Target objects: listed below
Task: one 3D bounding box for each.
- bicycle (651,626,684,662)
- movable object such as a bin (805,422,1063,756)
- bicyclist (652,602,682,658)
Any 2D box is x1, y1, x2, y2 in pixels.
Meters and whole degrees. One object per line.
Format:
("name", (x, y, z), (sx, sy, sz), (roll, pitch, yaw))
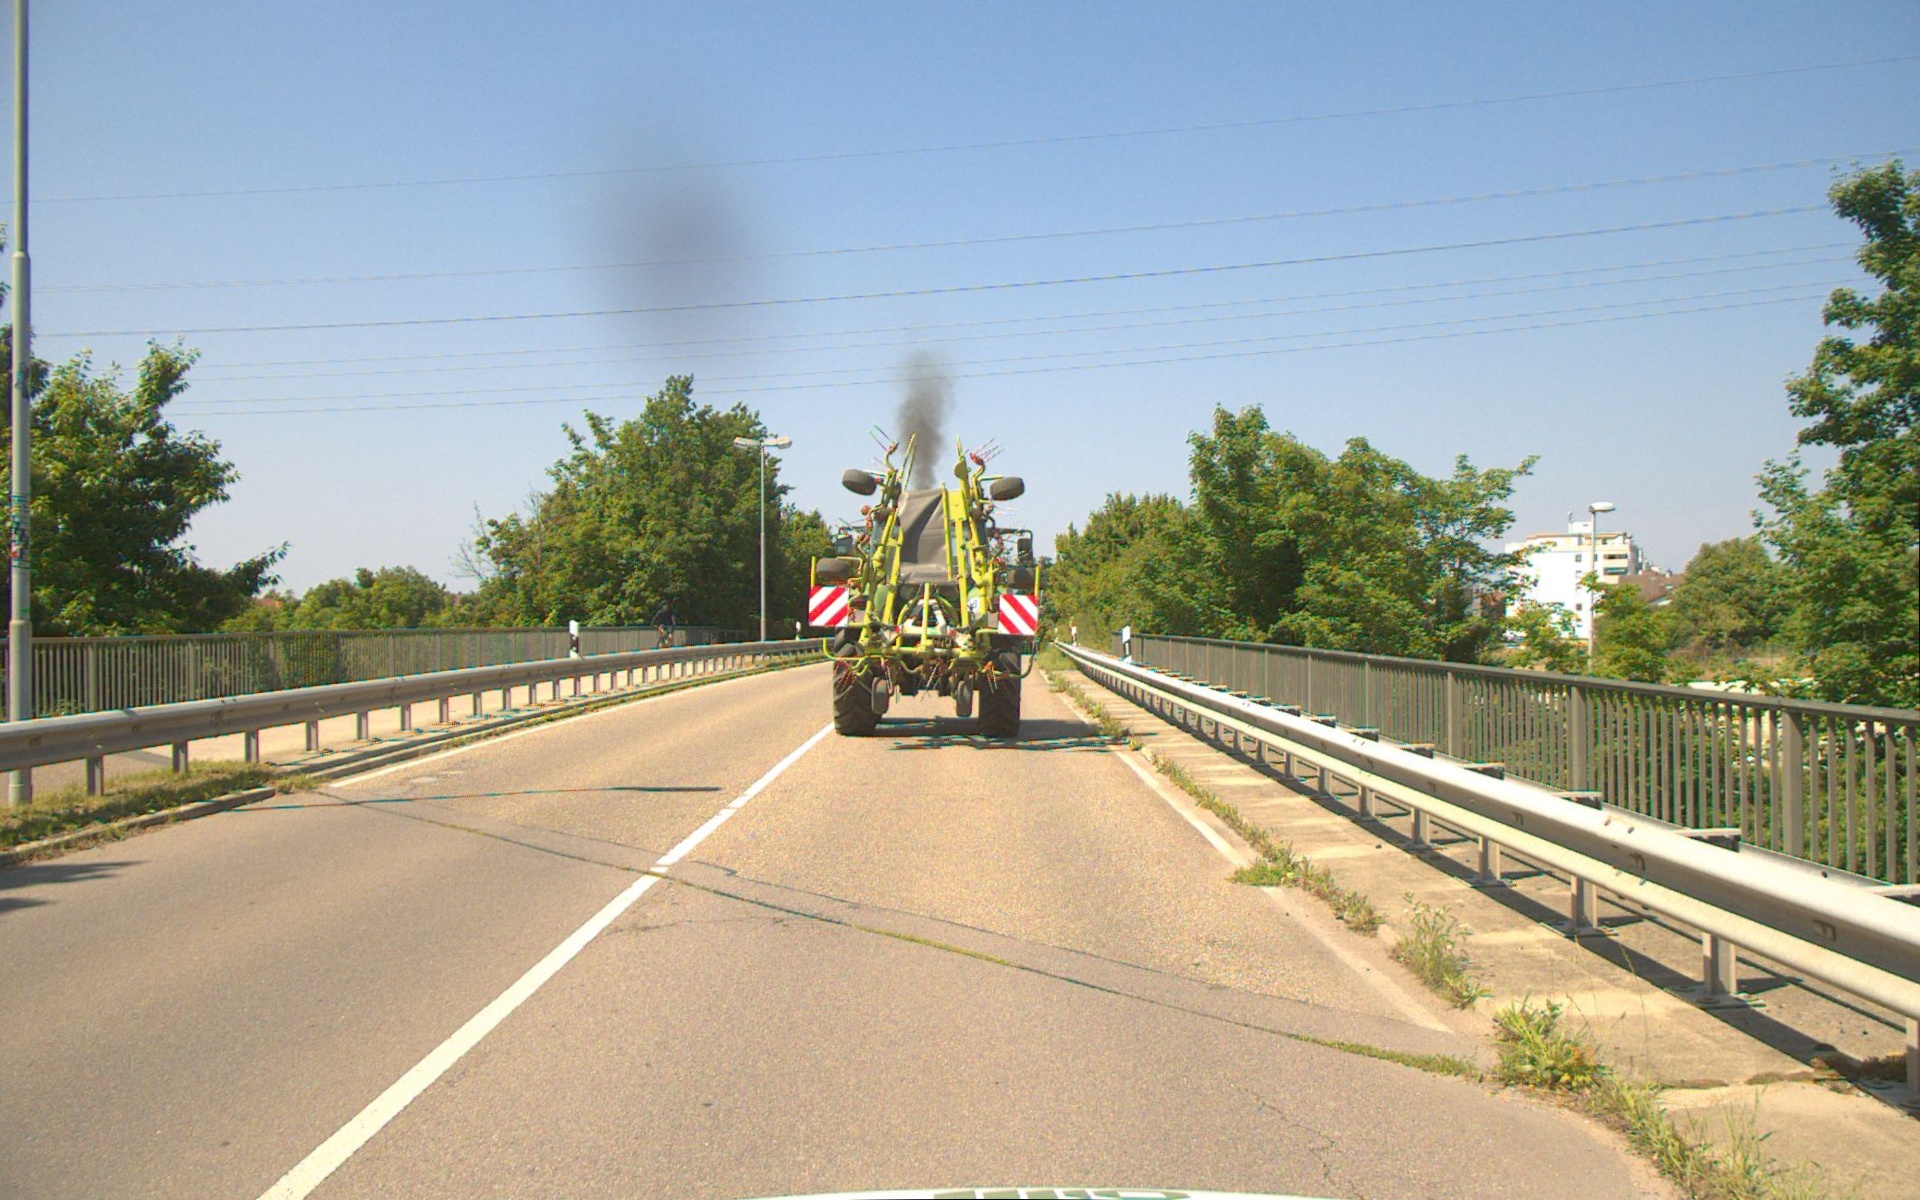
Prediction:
("bicycle", (-8.851, 1.322, 50.079), (0.663, 1.019, 2.118), (0, 0, -1))
("movable object such as a bin", (-0.348, -0.110, 20.205), (2.699, 3.504, 5.668), (0, 0, -2))
("bicyclist", (-8.881, 0.906, 50.114), (0.749, 1.662, 0.895), (1, 0, -2))
